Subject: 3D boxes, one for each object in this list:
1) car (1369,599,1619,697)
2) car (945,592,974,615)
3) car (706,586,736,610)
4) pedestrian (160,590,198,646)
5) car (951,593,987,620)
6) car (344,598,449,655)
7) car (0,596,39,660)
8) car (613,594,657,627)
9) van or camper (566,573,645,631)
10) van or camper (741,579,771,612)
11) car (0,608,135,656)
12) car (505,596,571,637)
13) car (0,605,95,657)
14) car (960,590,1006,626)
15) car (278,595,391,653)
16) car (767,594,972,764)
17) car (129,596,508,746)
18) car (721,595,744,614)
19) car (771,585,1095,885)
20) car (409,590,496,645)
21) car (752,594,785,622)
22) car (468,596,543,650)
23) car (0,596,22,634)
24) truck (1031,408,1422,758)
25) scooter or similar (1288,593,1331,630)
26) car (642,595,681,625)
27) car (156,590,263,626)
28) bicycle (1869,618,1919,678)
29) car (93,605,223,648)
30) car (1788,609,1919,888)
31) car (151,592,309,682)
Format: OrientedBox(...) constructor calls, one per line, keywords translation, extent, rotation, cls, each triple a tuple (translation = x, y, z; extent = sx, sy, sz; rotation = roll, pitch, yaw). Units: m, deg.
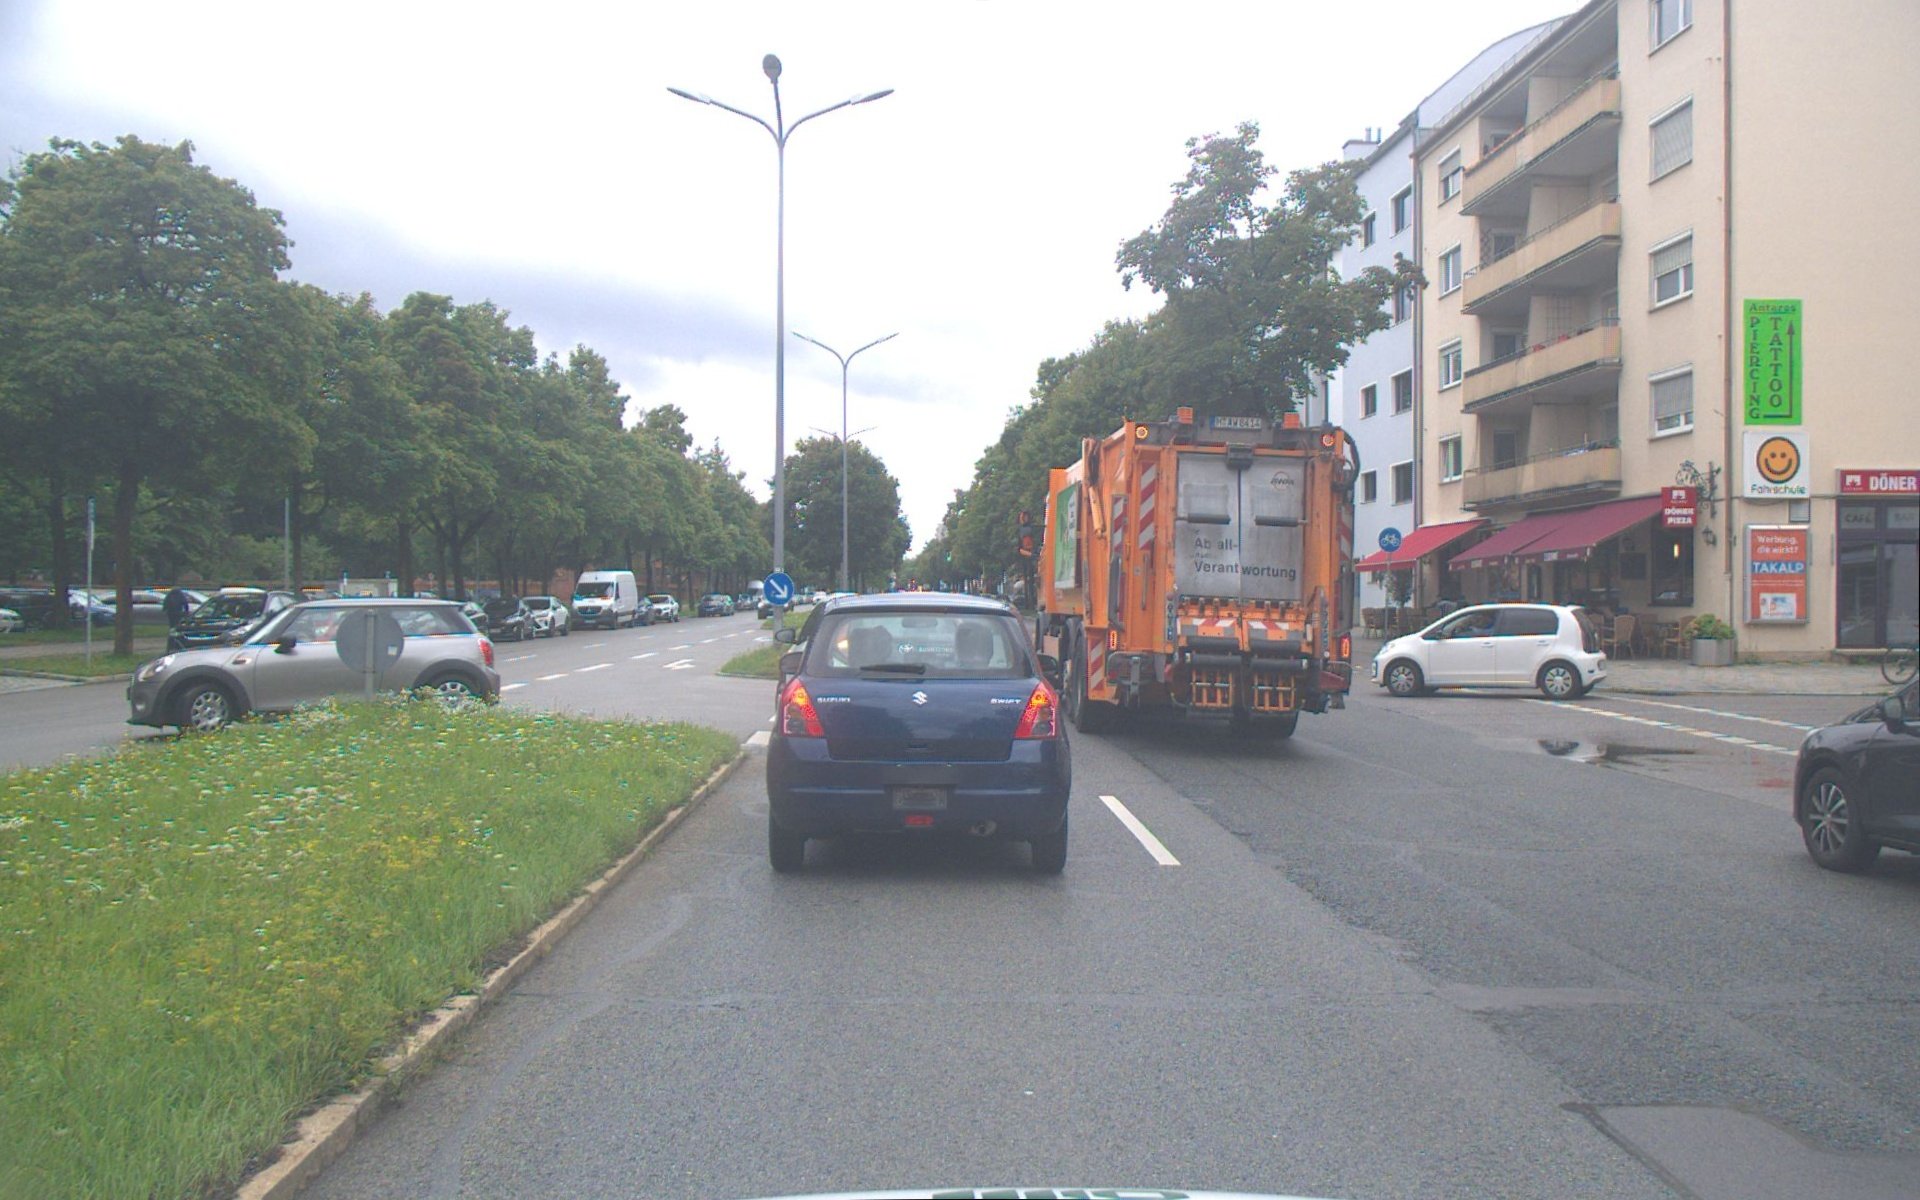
OrientedBox(translation=(8.502, 0.717, 26.354), extent=(3.483, 1.442, 1.868), rotation=(0, 0, 31), cls="car")
OrientedBox(translation=(-0.054, 0.219, 105.324), extent=(1.648, 1.408, 3.917), rotation=(1, 0, -2), cls="car")
OrientedBox(translation=(-16.553, -0.158, 114.720), extent=(1.600, 1.610, 3.877), rotation=(1, 0, -2), cls="car")
OrientedBox(translation=(-22.099, 0.500, 46.799), extent=(0.713, 1.561, 0.720), rotation=(1, 0, -1), cls="pedestrian")
OrientedBox(translation=(0.505, 0.335, 95.141), extent=(1.697, 1.457, 4.438), rotation=(1, 0, -5), cls="car")
OrientedBox(translation=(-15.228, 0.686, 44.860), extent=(1.634, 1.471, 3.877), rotation=(1, 0, -2), cls="car")
OrientedBox(translation=(-28.231, 0.751, 46.328), extent=(3.844, 1.748, 1.670), rotation=(1, 0, -7), cls="car")
OrientedBox(translation=(-16.479, 0.523, 84.042), extent=(1.600, 1.610, 3.877), rotation=(1, 0, -2), cls="car")
OrientedBox(translation=(-16.223, 0.095, 76.171), extent=(2.074, 2.525, 7.447), rotation=(1, 0, -1), cls="van or camper")
OrientedBox(translation=(-21.308, -0.496, 172.779), extent=(2.510, 3.353, 6.934), rotation=(1, 0, -2), cls="van or camper")
OrientedBox(translation=(-28.906, 1.015, 53.273), extent=(3.793, 1.471, 1.670), rotation=(1, 0, -7), cls="car")
OrientedBox(translation=(-15.765, 0.610, 61.999), extent=(1.600, 1.456, 3.877), rotation=(1, 0, -2), cls="car")
OrientedBox(translation=(-28.090, 0.906, 49.197), extent=(3.793, 1.471, 1.670), rotation=(1, 0, -7), cls="car")
OrientedBox(translation=(0.943, 0.300, 69.821), extent=(1.723, 1.438, 4.461), rotation=(1, 0, -2), cls="car")
OrientedBox(translation=(-15.133, 0.566, 40.152), extent=(1.559, 1.335, 3.379), rotation=(1, 0, -2), cls="car")
OrientedBox(translation=(-0.983, 0.706, 16.531), extent=(1.420, 1.509, 3.093), rotation=(0, 0, -15), cls="car")
OrientedBox(translation=(-6.856, 0.712, 17.945), extent=(3.667, 1.488, 1.678), rotation=(0, 0, -20), cls="car")
OrientedBox(translation=(-19.866, 0.380, 144.726), extent=(1.600, 1.610, 3.877), rotation=(1, 0, -2), cls="car")
OrientedBox(translation=(-0.220, 0.675, 10.426), extent=(1.648, 1.528, 3.917), rotation=(0, 0, -3), cls="car")
OrientedBox(translation=(-15.393, 0.523, 50.296), extent=(1.559, 1.585, 3.877), rotation=(1, 0, -2), cls="car")
OrientedBox(translation=(-11.208, 0.440, 97.102), extent=(1.600, 1.580, 3.877), rotation=(1, 0, -2), cls="car")
OrientedBox(translation=(-15.528, 0.756, 56.670), extent=(1.600, 1.771, 3.877), rotation=(1, 0, -2), cls="car")
OrientedBox(translation=(-39.860, 0.568, 65.363), extent=(4.596, 1.471, 1.672), rotation=(1, 0, -1), cls="car")
OrientedBox(translation=(2.705, -0.177, 20.093), extent=(2.978, 3.245, 9.130), rotation=(1, 0, -2), cls="truck")
OrientedBox(translation=(13.033, 0.426, 61.779), extent=(1.012, 1.330, 2.754), rotation=(0, 0, -1), cls="scooter or similar")
OrientedBox(translation=(-16.540, 0.520, 91.690), extent=(1.600, 1.610, 3.877), rotation=(1, 0, -2), cls="car")
OrientedBox(translation=(-32.109, 0.337, 70.822), extent=(3.793, 1.471, 1.670), rotation=(1, 0, -7), cls="car")
OrientedBox(translation=(16.258, 0.805, 27.676), extent=(1.810, 0.974, 0.557), rotation=(1, 0, -3), cls="bicycle")
OrientedBox(translation=(-28.471, 0.936, 58.799), extent=(3.793, 1.471, 1.670), rotation=(1, 0, -7), cls="car")
OrientedBox(translation=(5.982, 0.826, 8.424), extent=(1.584, 1.491, 3.673), rotation=(2, 0, -2), cls="car")
OrientedBox(translation=(-15.164, 0.732, 34.589), extent=(1.682, 1.771, 3.877), rotation=(1, 0, -2), cls="car")
